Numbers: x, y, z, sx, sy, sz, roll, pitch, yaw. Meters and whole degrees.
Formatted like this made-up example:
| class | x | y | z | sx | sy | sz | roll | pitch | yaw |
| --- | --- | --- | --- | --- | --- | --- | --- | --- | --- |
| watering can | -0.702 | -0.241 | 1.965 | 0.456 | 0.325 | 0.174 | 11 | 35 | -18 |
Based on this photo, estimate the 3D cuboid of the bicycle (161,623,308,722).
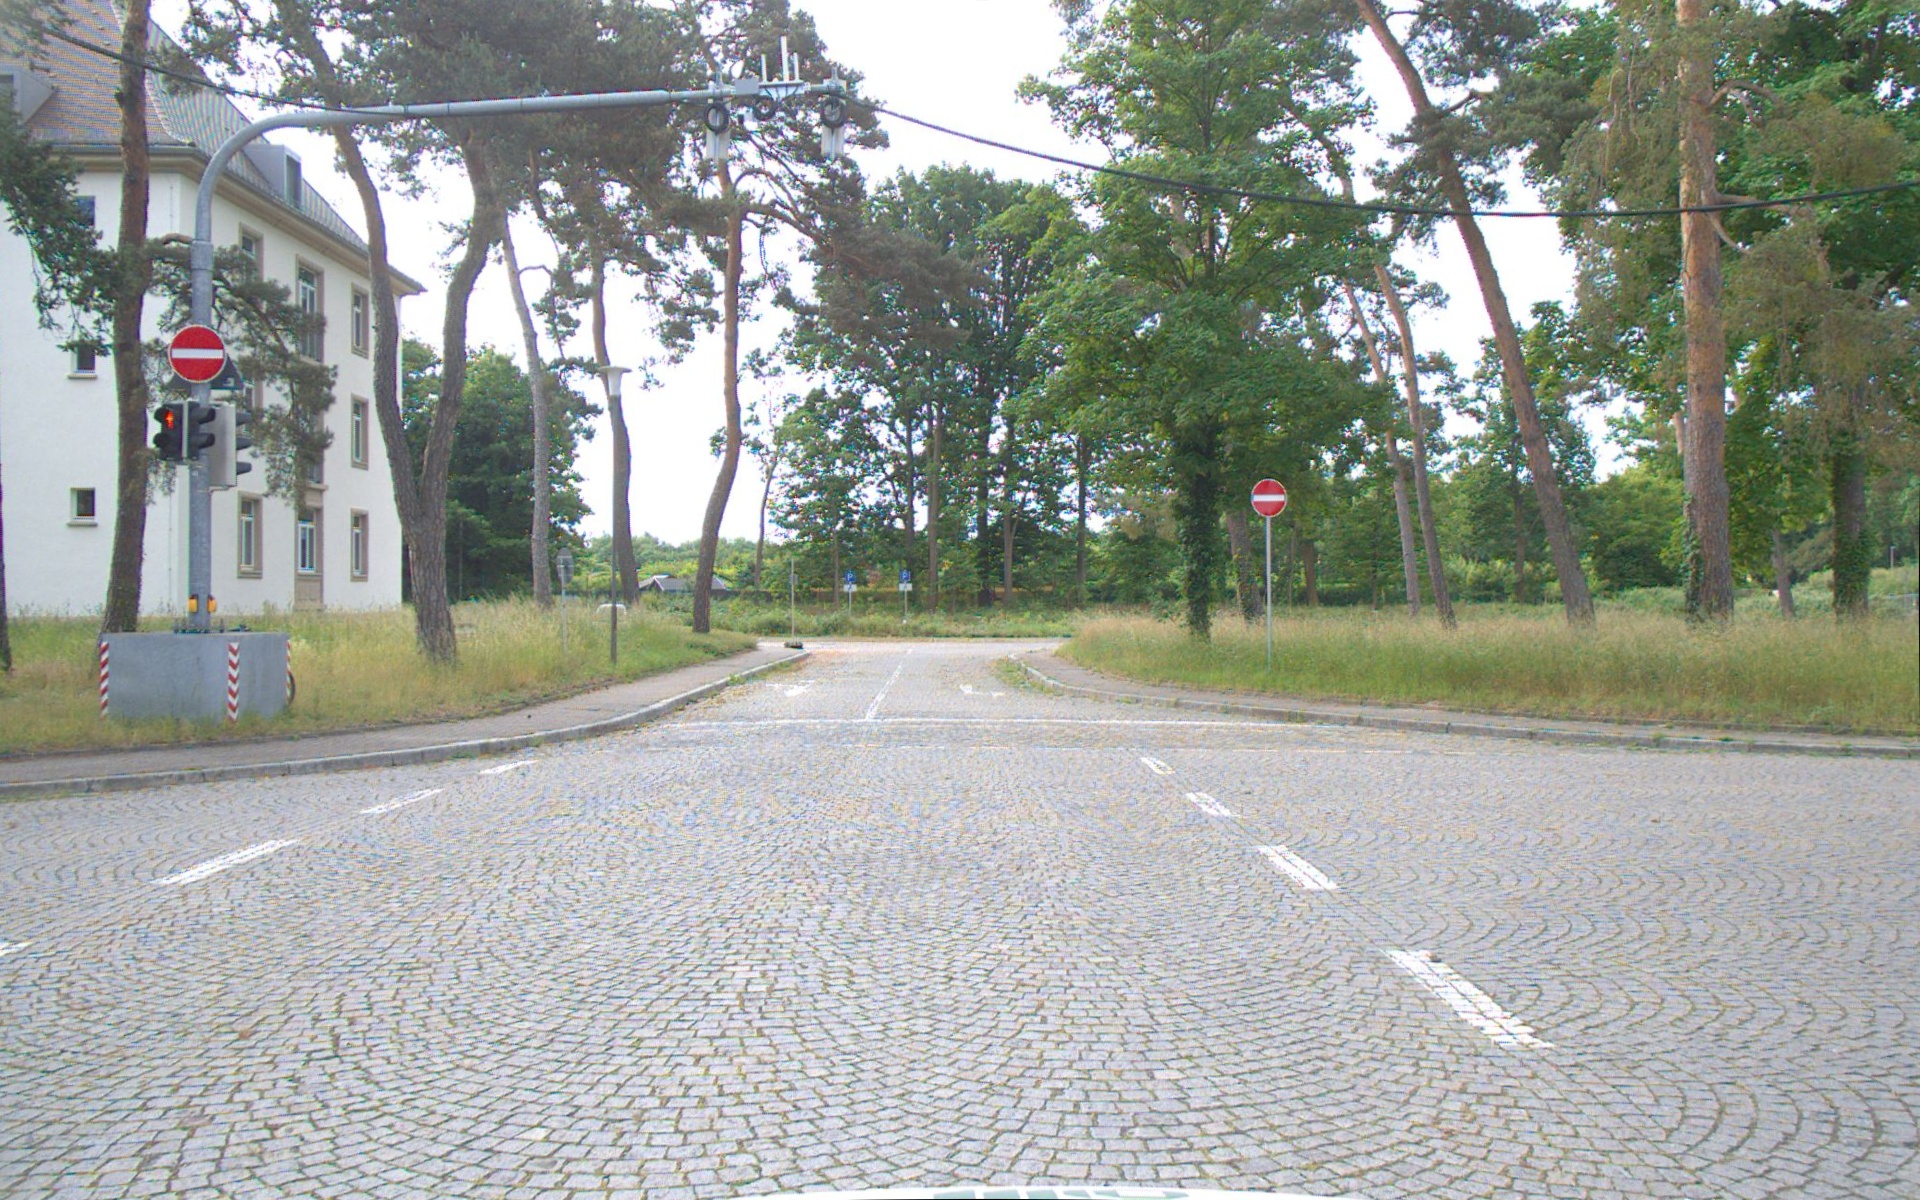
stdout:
| class | x | y | z | sx | sy | sz | roll | pitch | yaw |
| --- | --- | --- | --- | --- | --- | --- | --- | --- | --- |
| bicycle | -8.250 | 0.820 | 18.839 | 1.435 | 1.084 | 0.516 | 0 | 1 | -3 |

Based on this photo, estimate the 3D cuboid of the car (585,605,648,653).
| class | x | y | z | sx | sy | sz | roll | pitch | yaw |
| --- | --- | --- | --- | --- | --- | --- | --- | --- | --- |
| car | -14.263 | 1.165 | 68.806 | 1.954 | 1.878 | 3.997 | 2 | 0 | -3 |
